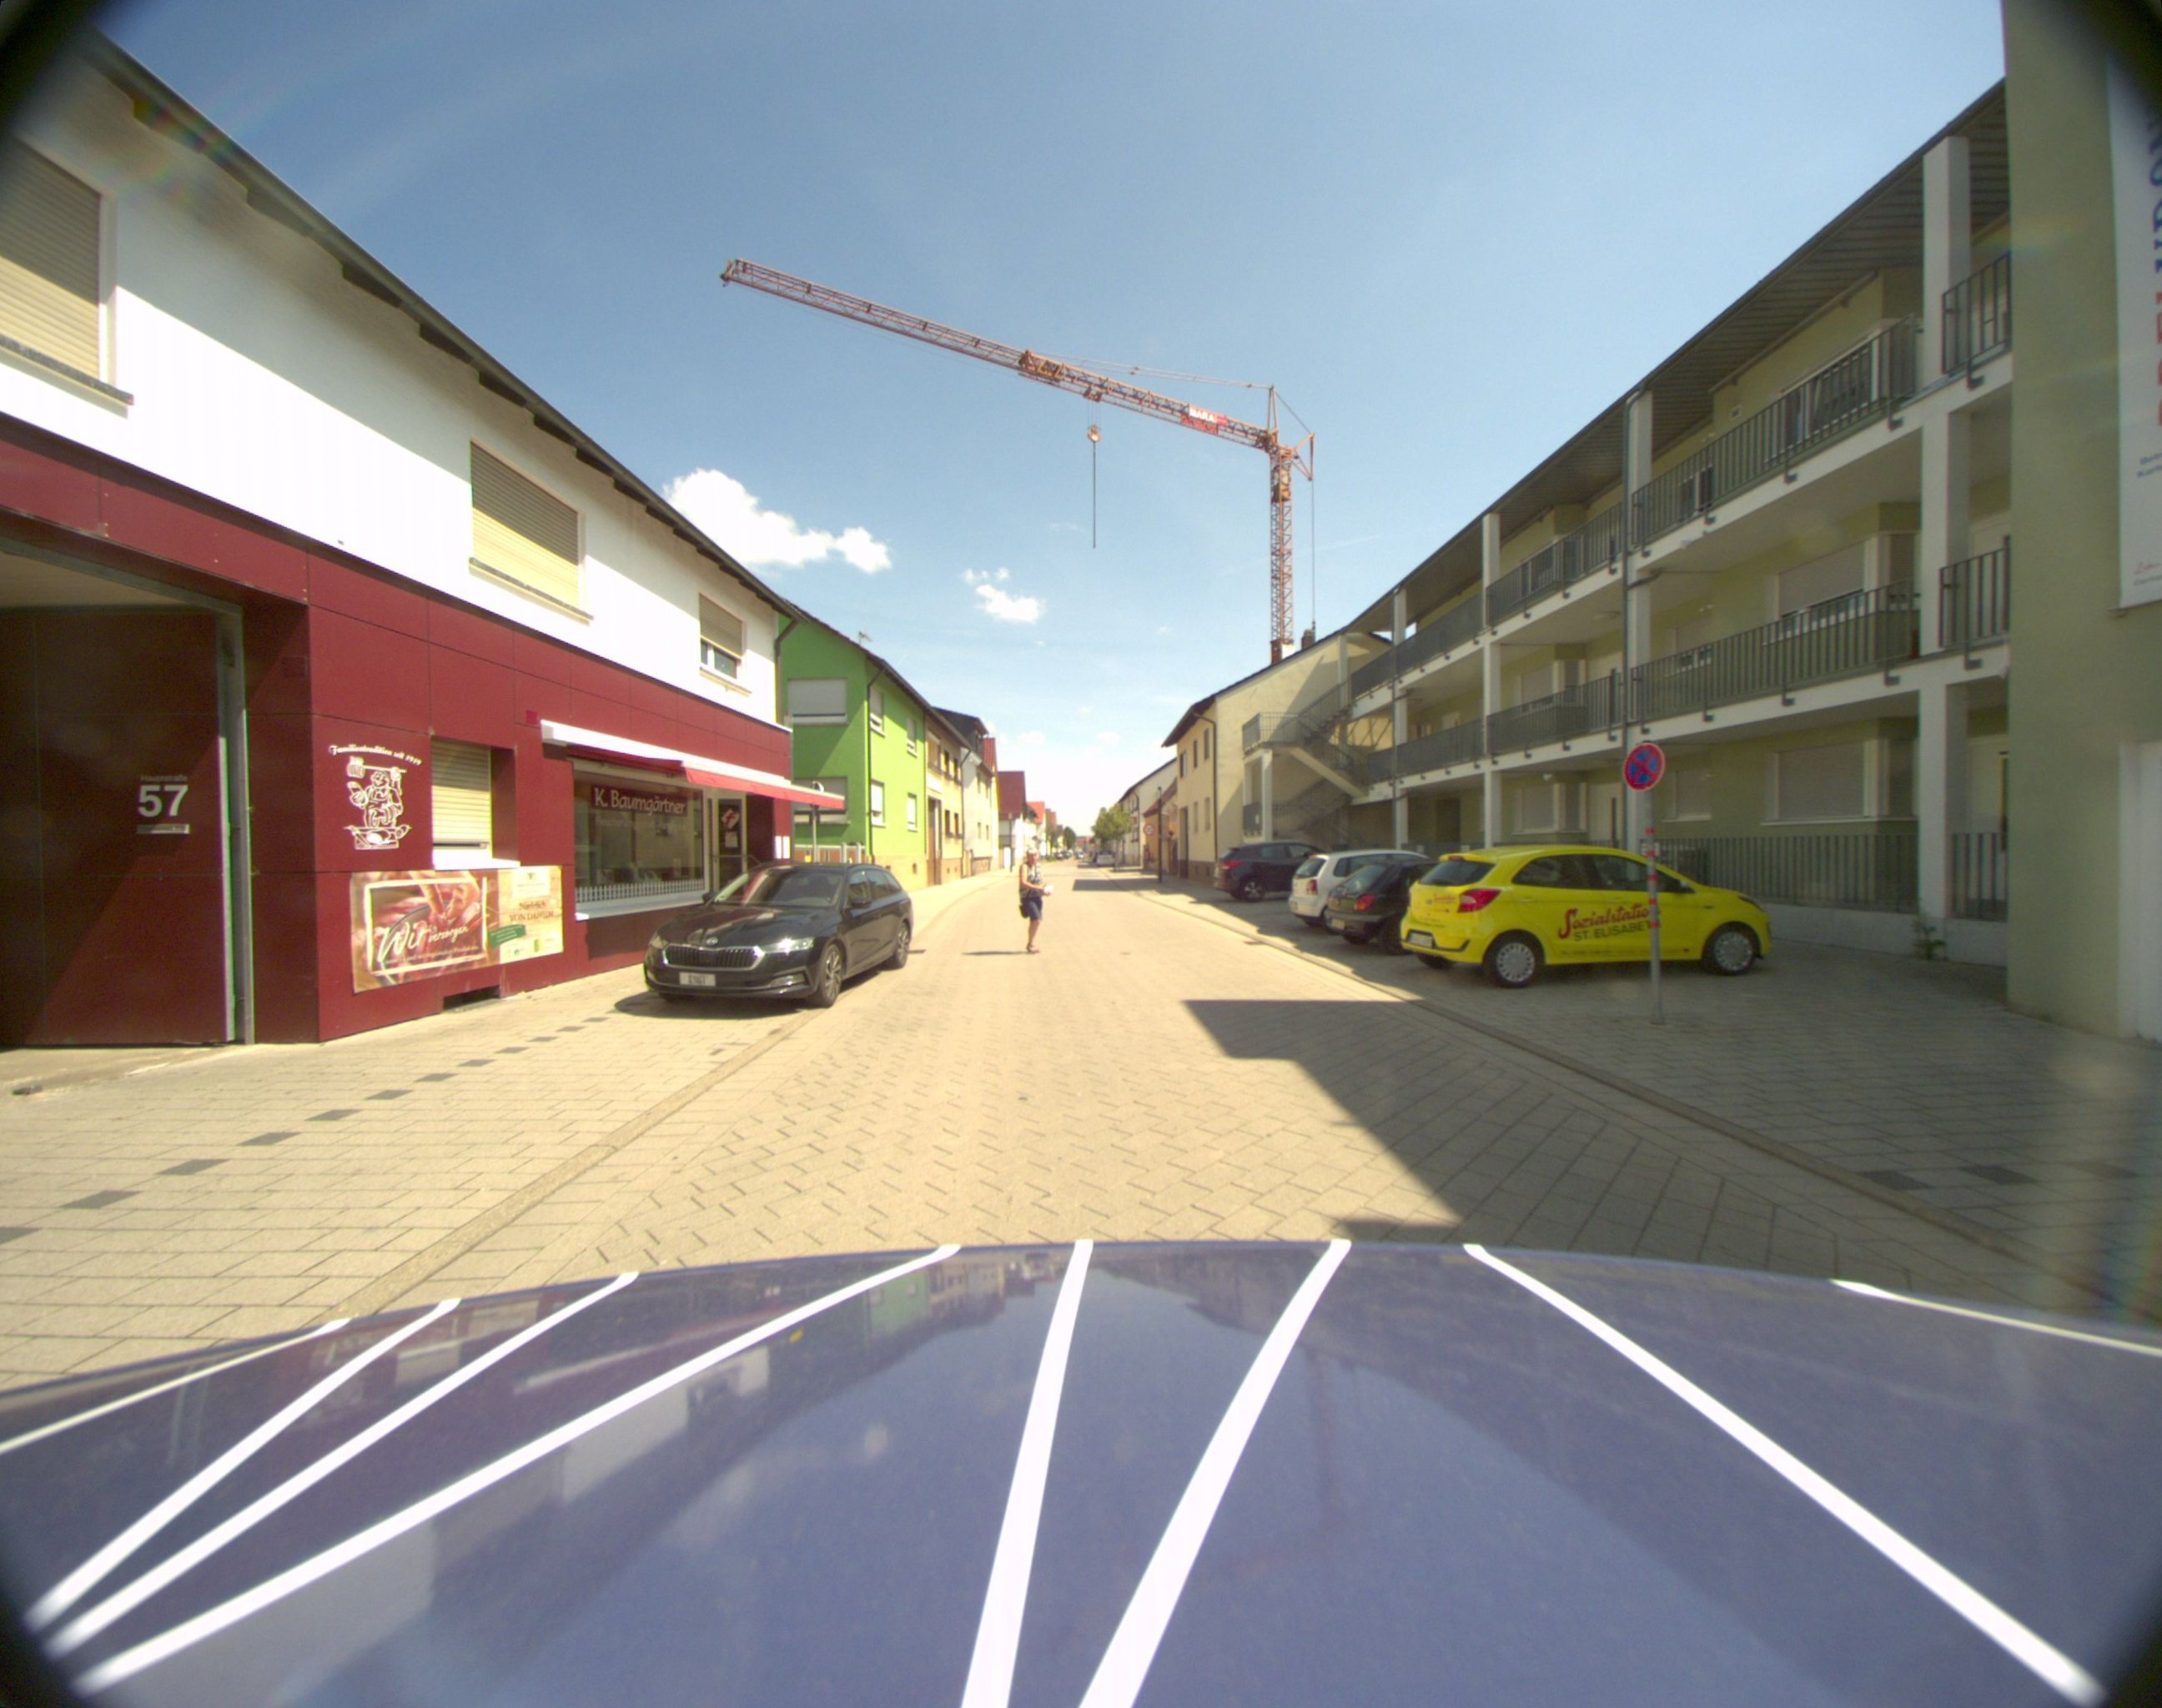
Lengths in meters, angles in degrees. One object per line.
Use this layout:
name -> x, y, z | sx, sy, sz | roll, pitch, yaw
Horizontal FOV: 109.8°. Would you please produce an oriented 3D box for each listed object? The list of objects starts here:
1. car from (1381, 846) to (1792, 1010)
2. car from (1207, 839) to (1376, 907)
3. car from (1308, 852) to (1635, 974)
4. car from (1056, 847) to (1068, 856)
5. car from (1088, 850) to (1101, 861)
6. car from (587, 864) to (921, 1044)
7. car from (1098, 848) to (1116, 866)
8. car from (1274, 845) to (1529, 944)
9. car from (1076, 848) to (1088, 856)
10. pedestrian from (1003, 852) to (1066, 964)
car -> 5.721, 0.763, 8.873 | 3.702, 1.516, 1.672 | -3, 1, -4
car -> 5.878, 0.508, 21.547 | 4.229, 1.649, 1.784 | -3, 1, 0
car -> 5.713, 0.822, 11.459 | 3.997, 1.433, 1.691 | -4, 1, 0
car -> -3.179, -0.474, 126.588 | 1.726, 1.420, 3.818 | -1, 1, 1
car -> 1.892, 0.226, 108.256 | 1.752, 1.557, 3.954 | -1, 1, -1
car -> -3.399, 0.919, 9.051 | 1.862, 1.451, 4.586 | 1, 1, 2
car -> 2.421, 0.278, 69.851 | 1.576, 1.552, 2.822 | -3, 1, 2
car -> 5.751, 0.692, 14.006 | 3.910, 1.494, 1.750 | -3, 1, 1
car -> 0.242, -0.374, 134.453 | 1.958, 1.521, 4.000 | 0, 1, 1
pedestrian -> -0.731, 0.796, 11.687 | 0.749, 1.631, 0.731 | -3, 1, -17
